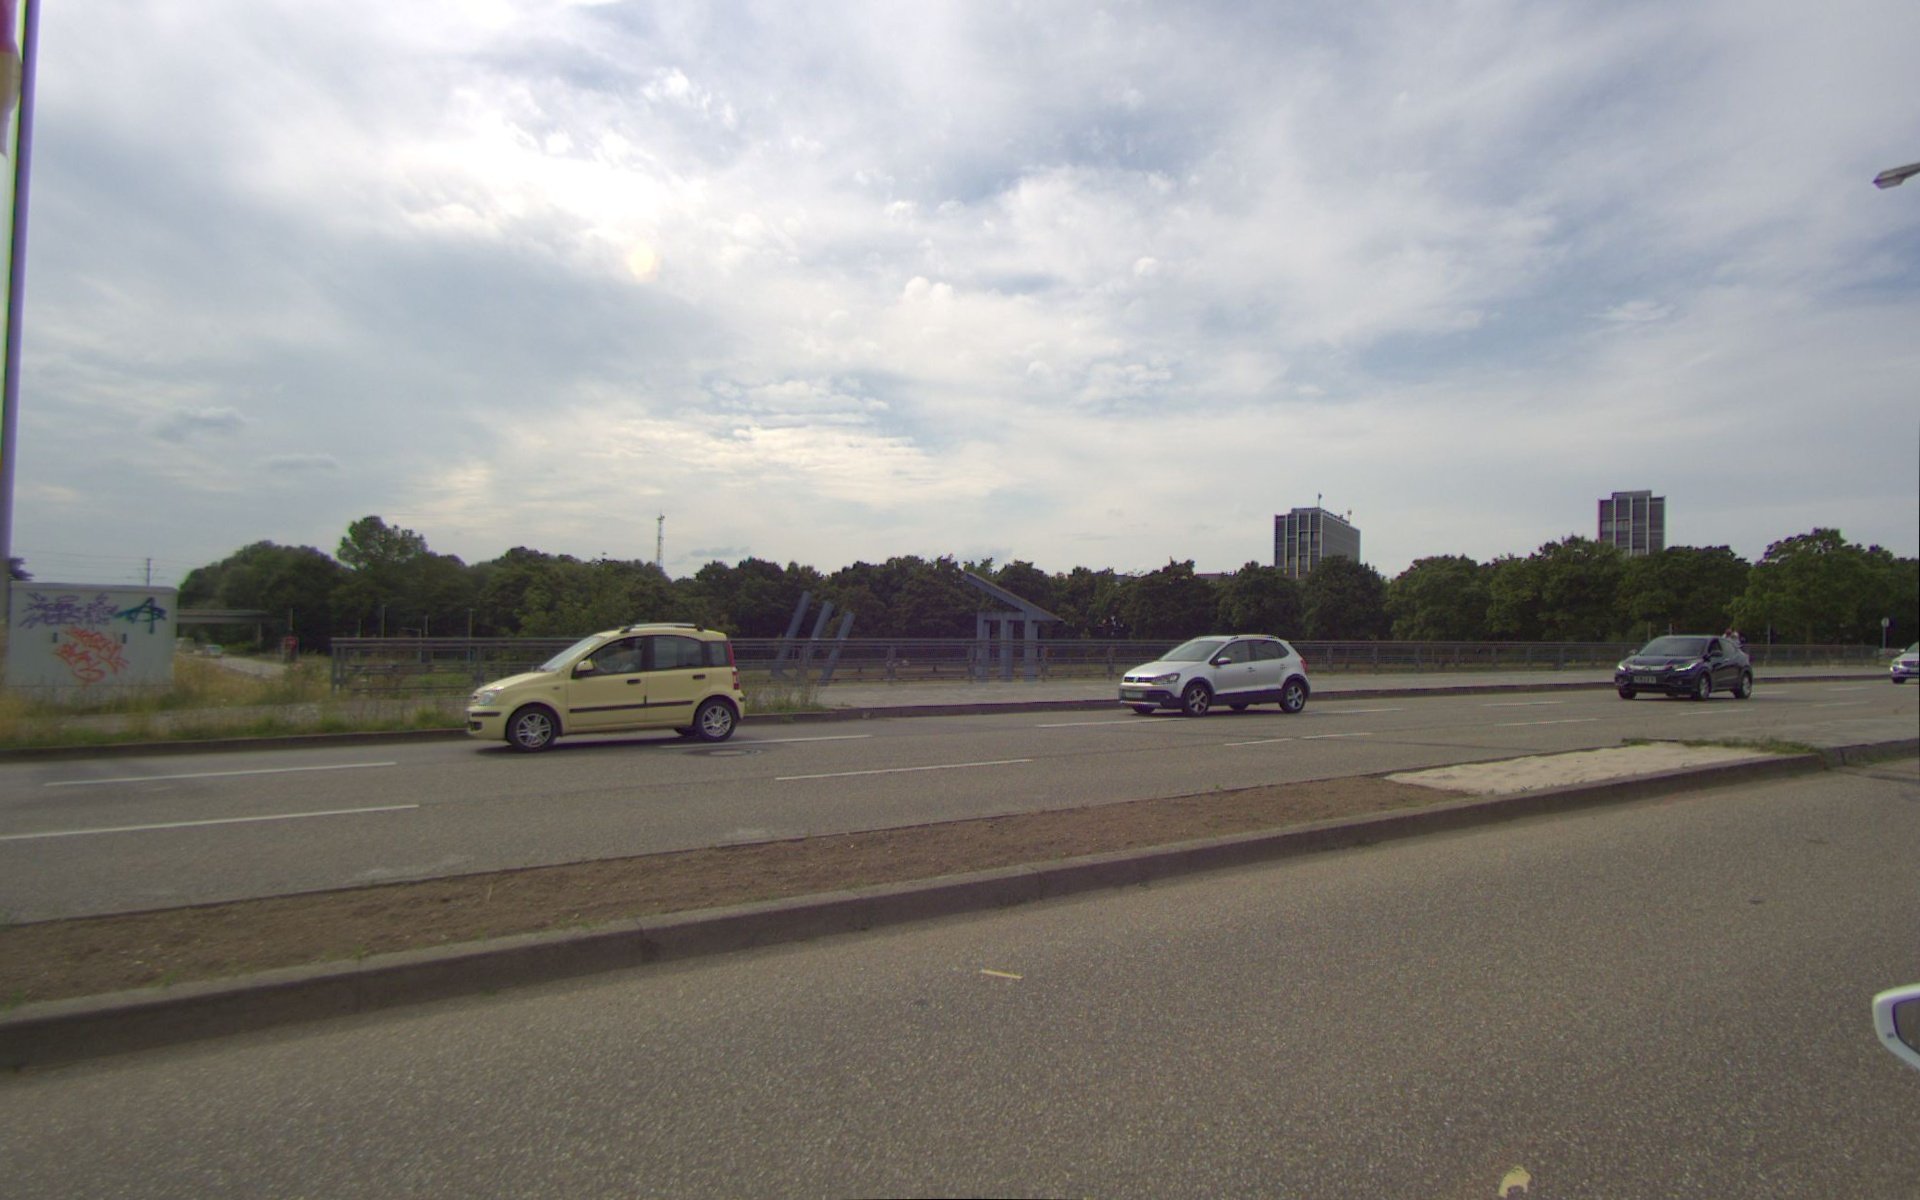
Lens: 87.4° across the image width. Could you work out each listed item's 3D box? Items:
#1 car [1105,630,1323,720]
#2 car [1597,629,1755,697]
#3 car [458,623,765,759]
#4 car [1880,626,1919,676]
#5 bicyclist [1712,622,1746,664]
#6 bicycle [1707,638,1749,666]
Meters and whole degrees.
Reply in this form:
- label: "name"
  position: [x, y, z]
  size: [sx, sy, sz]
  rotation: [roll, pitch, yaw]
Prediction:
- label: "car"
  position: [4.840, 1.354, 19.043]
  size: [3.966, 1.535, 1.643]
  rotation: [1, -3, -29]
- label: "car"
  position: [17.772, 1.540, 24.887]
  size: [4.270, 1.535, 1.730]
  rotation: [2, -3, -33]
- label: "car"
  position: [-4.602, 1.123, 13.387]
  size: [3.648, 1.598, 1.541]
  rotation: [1, -3, -31]
- label: "car"
  position: [35.882, 1.869, 36.808]
  size: [4.714, 1.747, 1.854]
  rotation: [2, -3, -30]
- label: "bicyclist"
  position: [30.696, 1.707, 40.079]
  size: [0.966, 1.648, 0.790]
  rotation: [2, 0, -33]
- label: "bicycle"
  position: [30.660, 2.068, 40.090]
  size: [2.038, 1.063, 0.702]
  rotation: [2, -1, -34]
